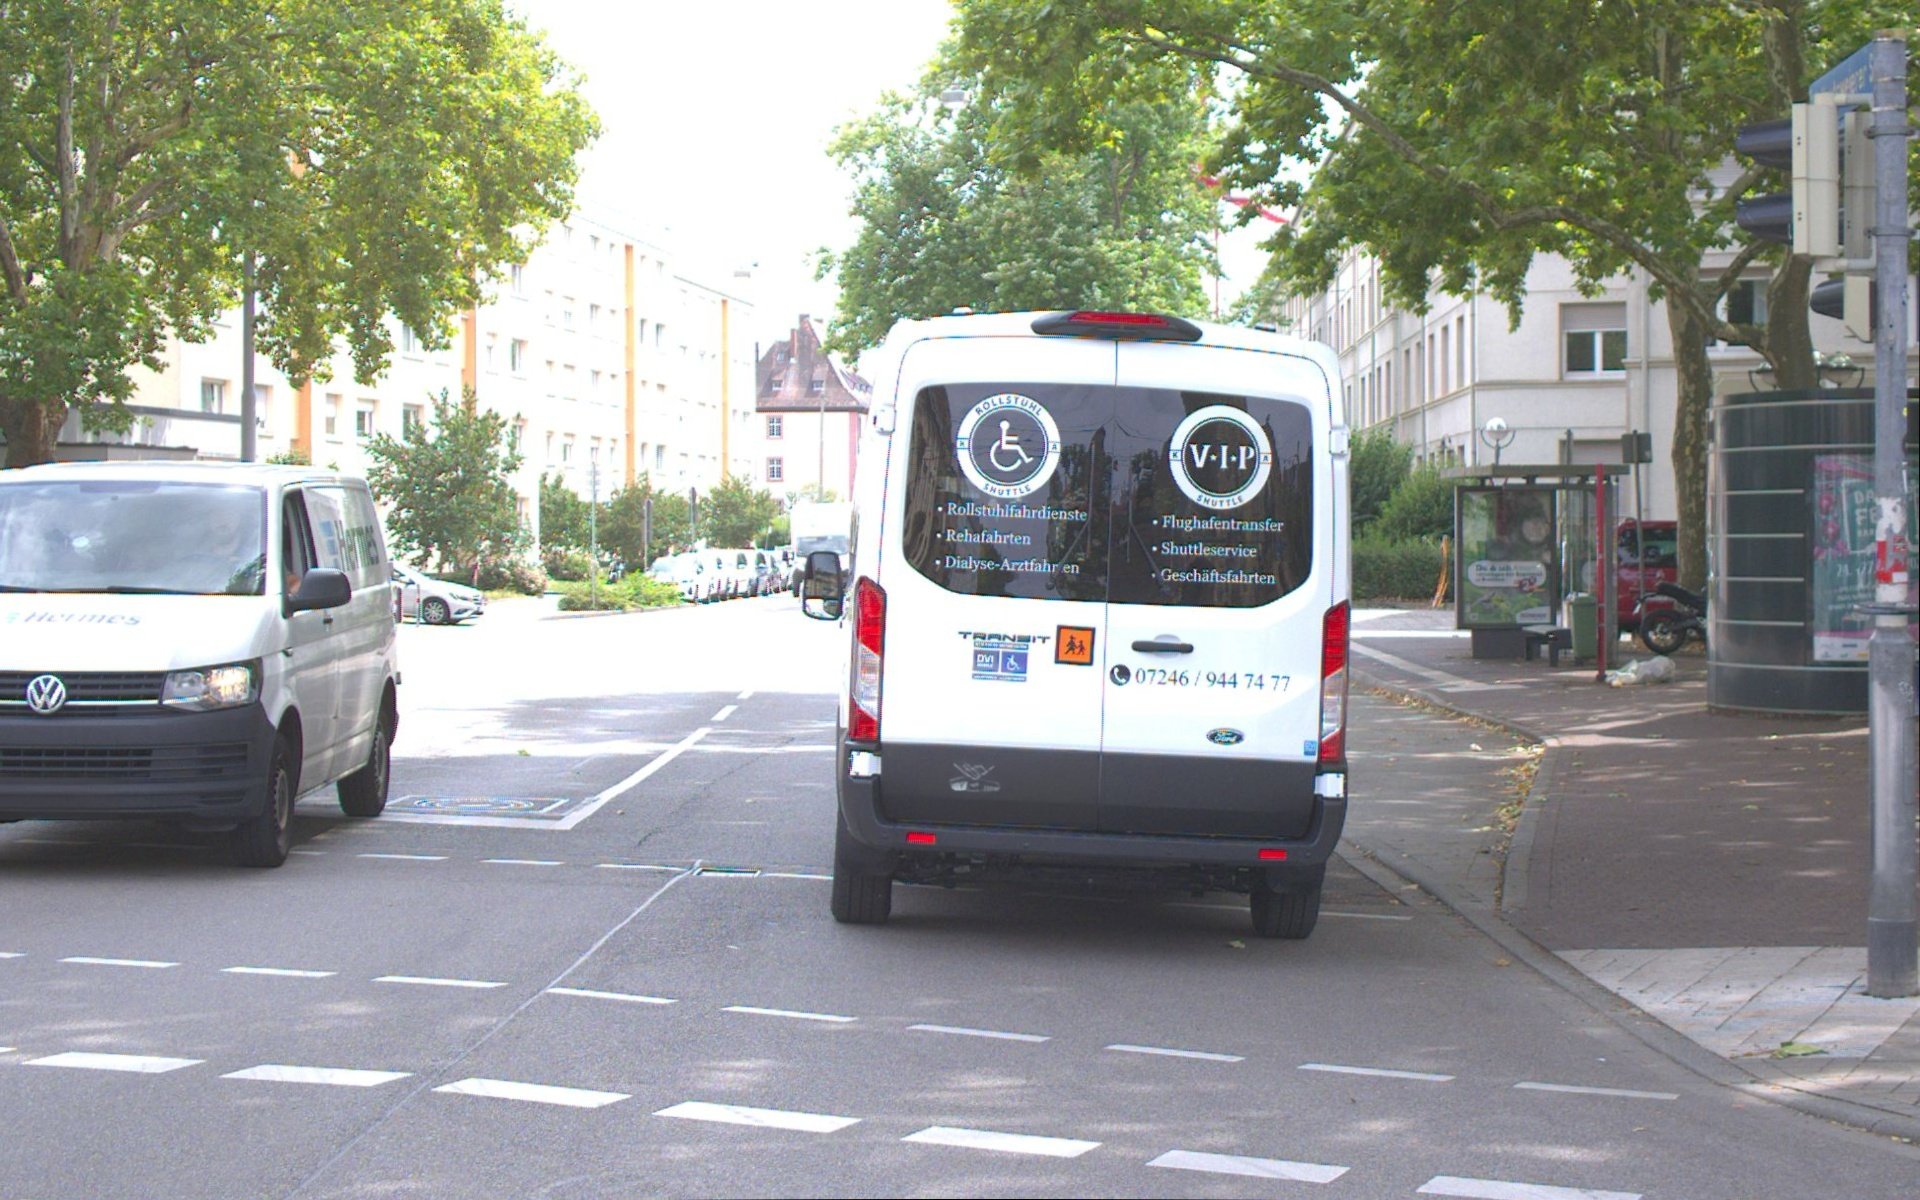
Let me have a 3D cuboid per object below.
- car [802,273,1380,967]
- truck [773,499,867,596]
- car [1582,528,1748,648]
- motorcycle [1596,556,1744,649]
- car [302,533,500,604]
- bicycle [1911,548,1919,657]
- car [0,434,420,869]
[{"bbox_3d":[0.537,0.050,15.276,2.070,2.531,4.635,2,1,1],"label":"car"},{"bbox_3d":[-4.707,-1.782,116.690,2.541,3.097,7.020,-2,1,2],"label":"truck"},{"bbox_3d":[10.551,-0.195,51.250,1.934,1.700,4.327,0,1,18],"label":"car"},{"bbox_3d":[9.462,0.033,45.849,1.854,1.218,0.531,0,1,-4],"label":"motorcycle"},{"bbox_3d":[-12.948,-0.726,79.786,4.172,1.446,1.849,2,0,3],"label":"car"},{"bbox_3d":[12.855,0.005,44.574,0.419,1.373,2.307,0,2,31],"label":"bicycle"},{"bbox_3d":[-4.082,0.178,17.800,1.923,1.930,4.948,1,1,-2],"label":"car"}]
